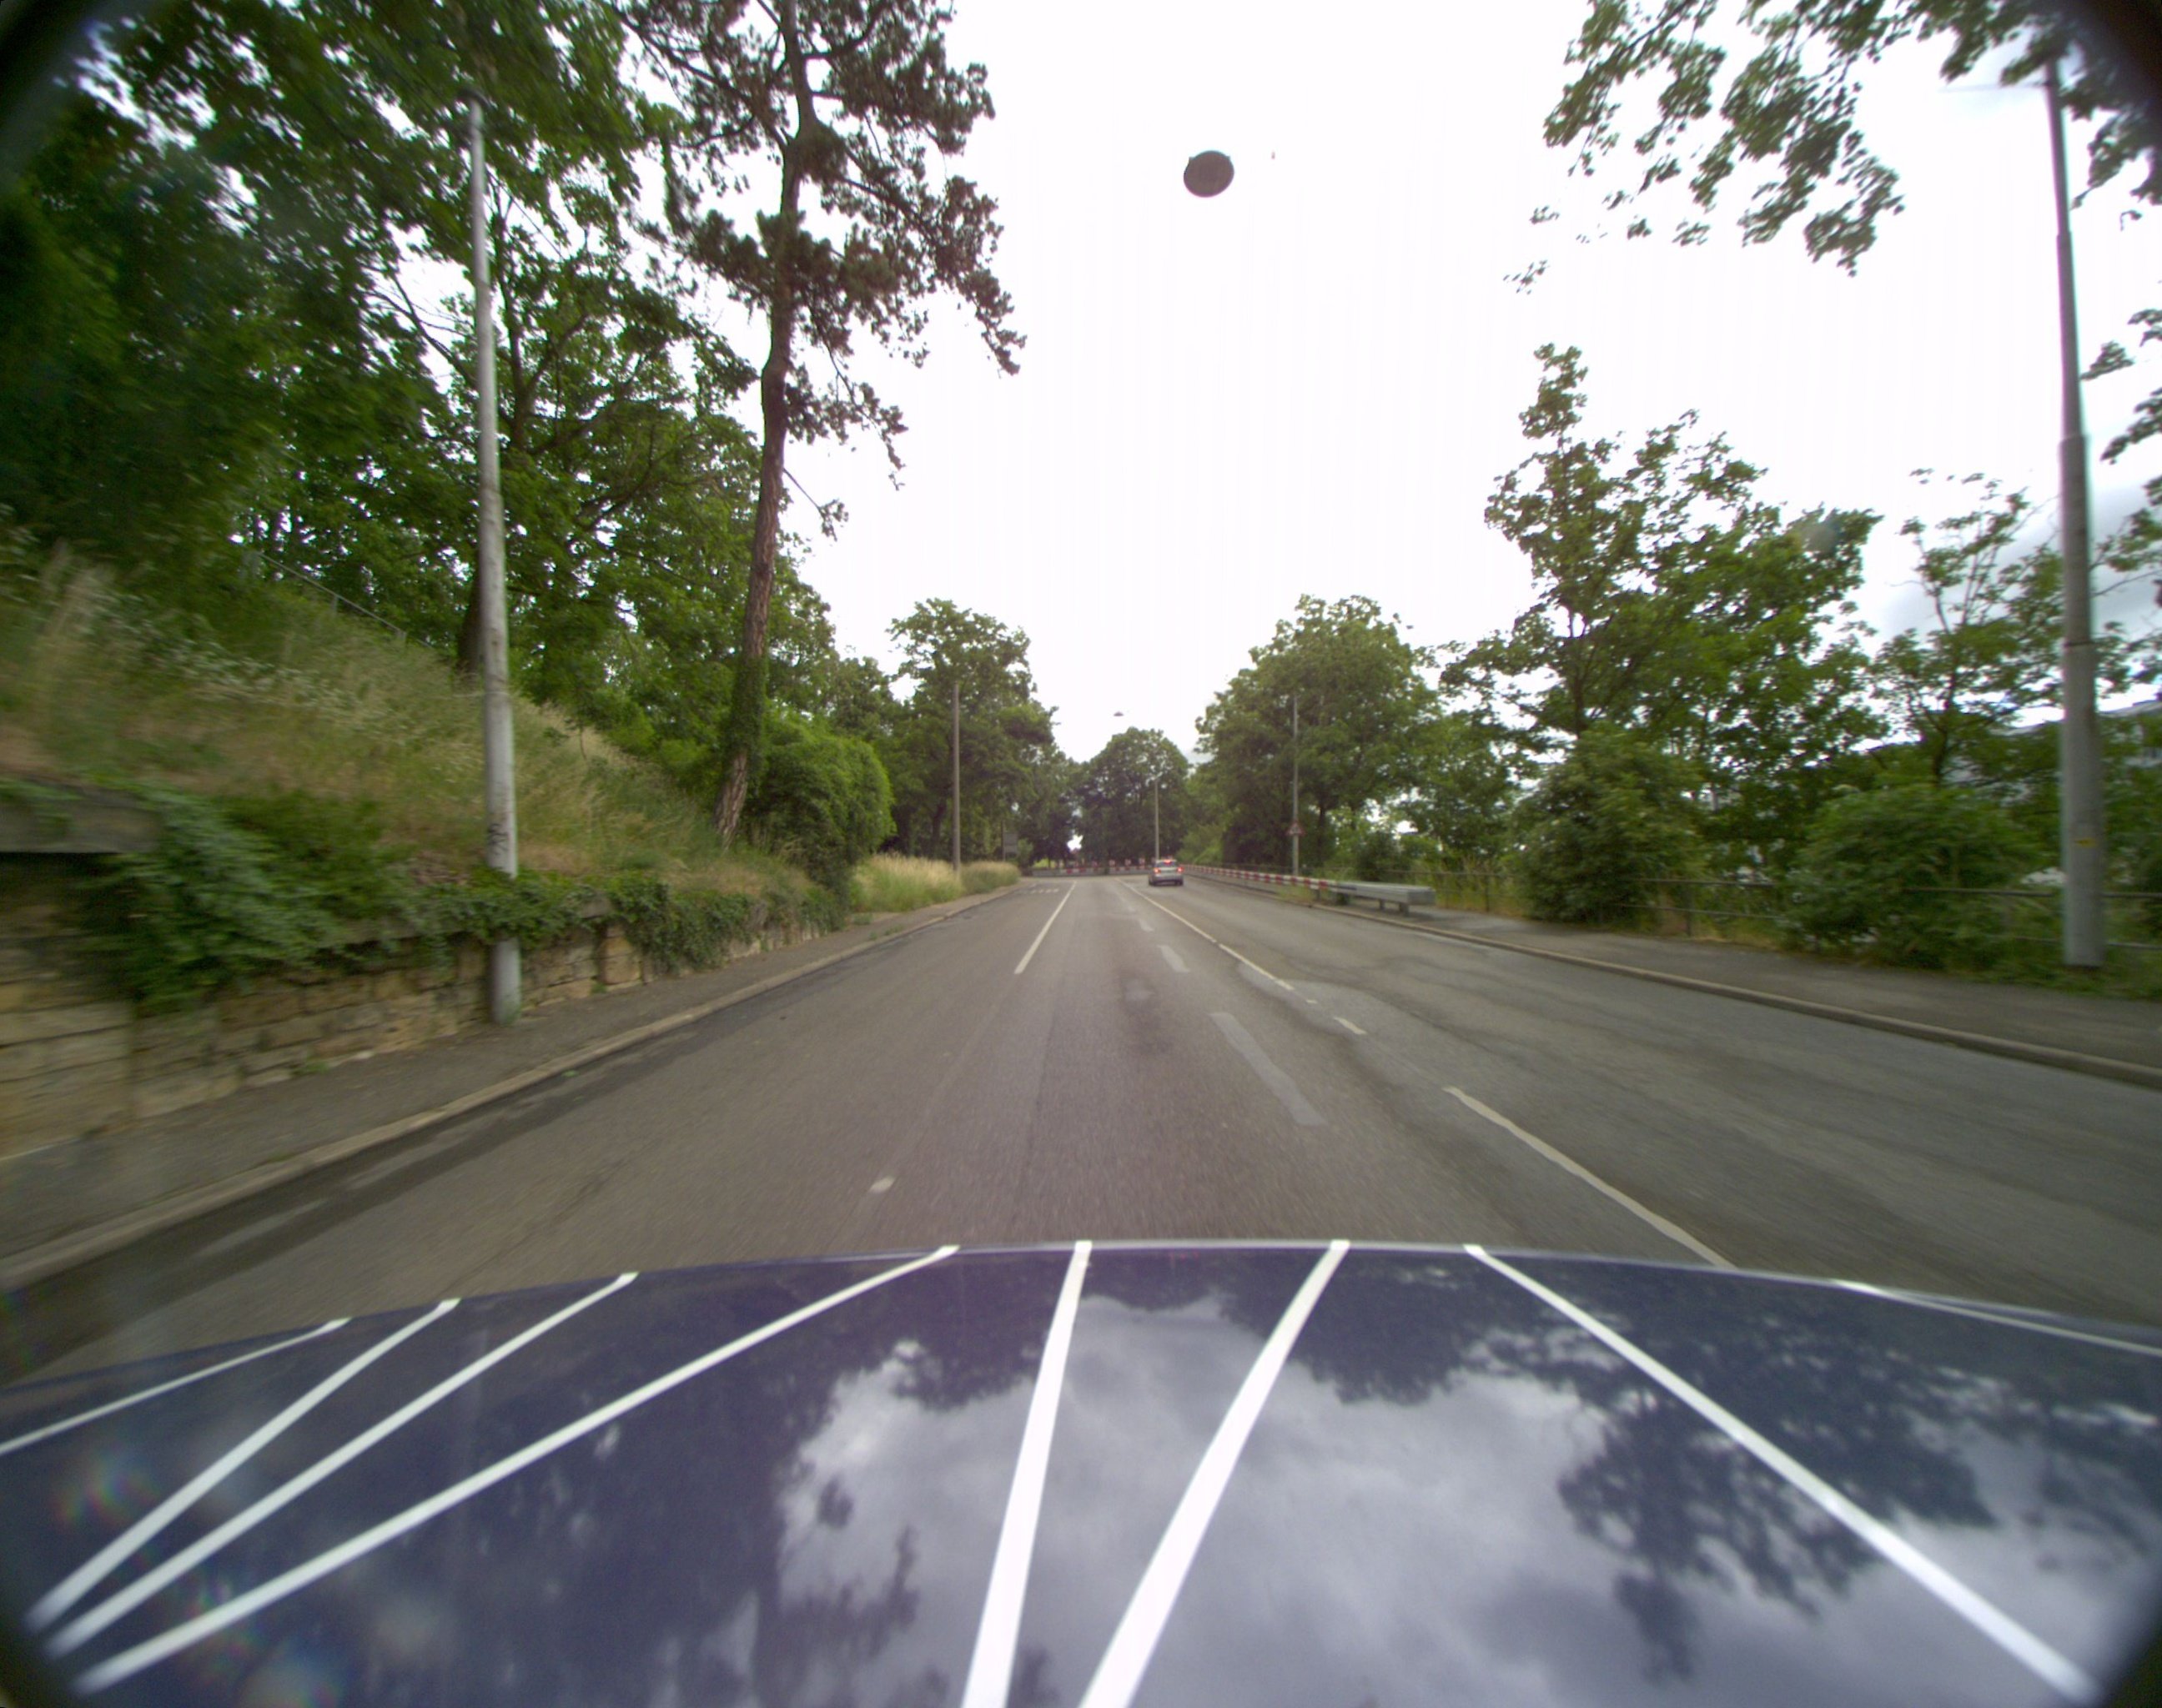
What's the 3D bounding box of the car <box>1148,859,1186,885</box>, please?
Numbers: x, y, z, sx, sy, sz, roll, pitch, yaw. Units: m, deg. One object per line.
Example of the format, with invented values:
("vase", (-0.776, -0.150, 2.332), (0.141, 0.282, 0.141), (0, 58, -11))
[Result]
("car", (4.992, 1.028, 44.442), (1.799, 1.419, 4.143), (-1, 0, 1))
